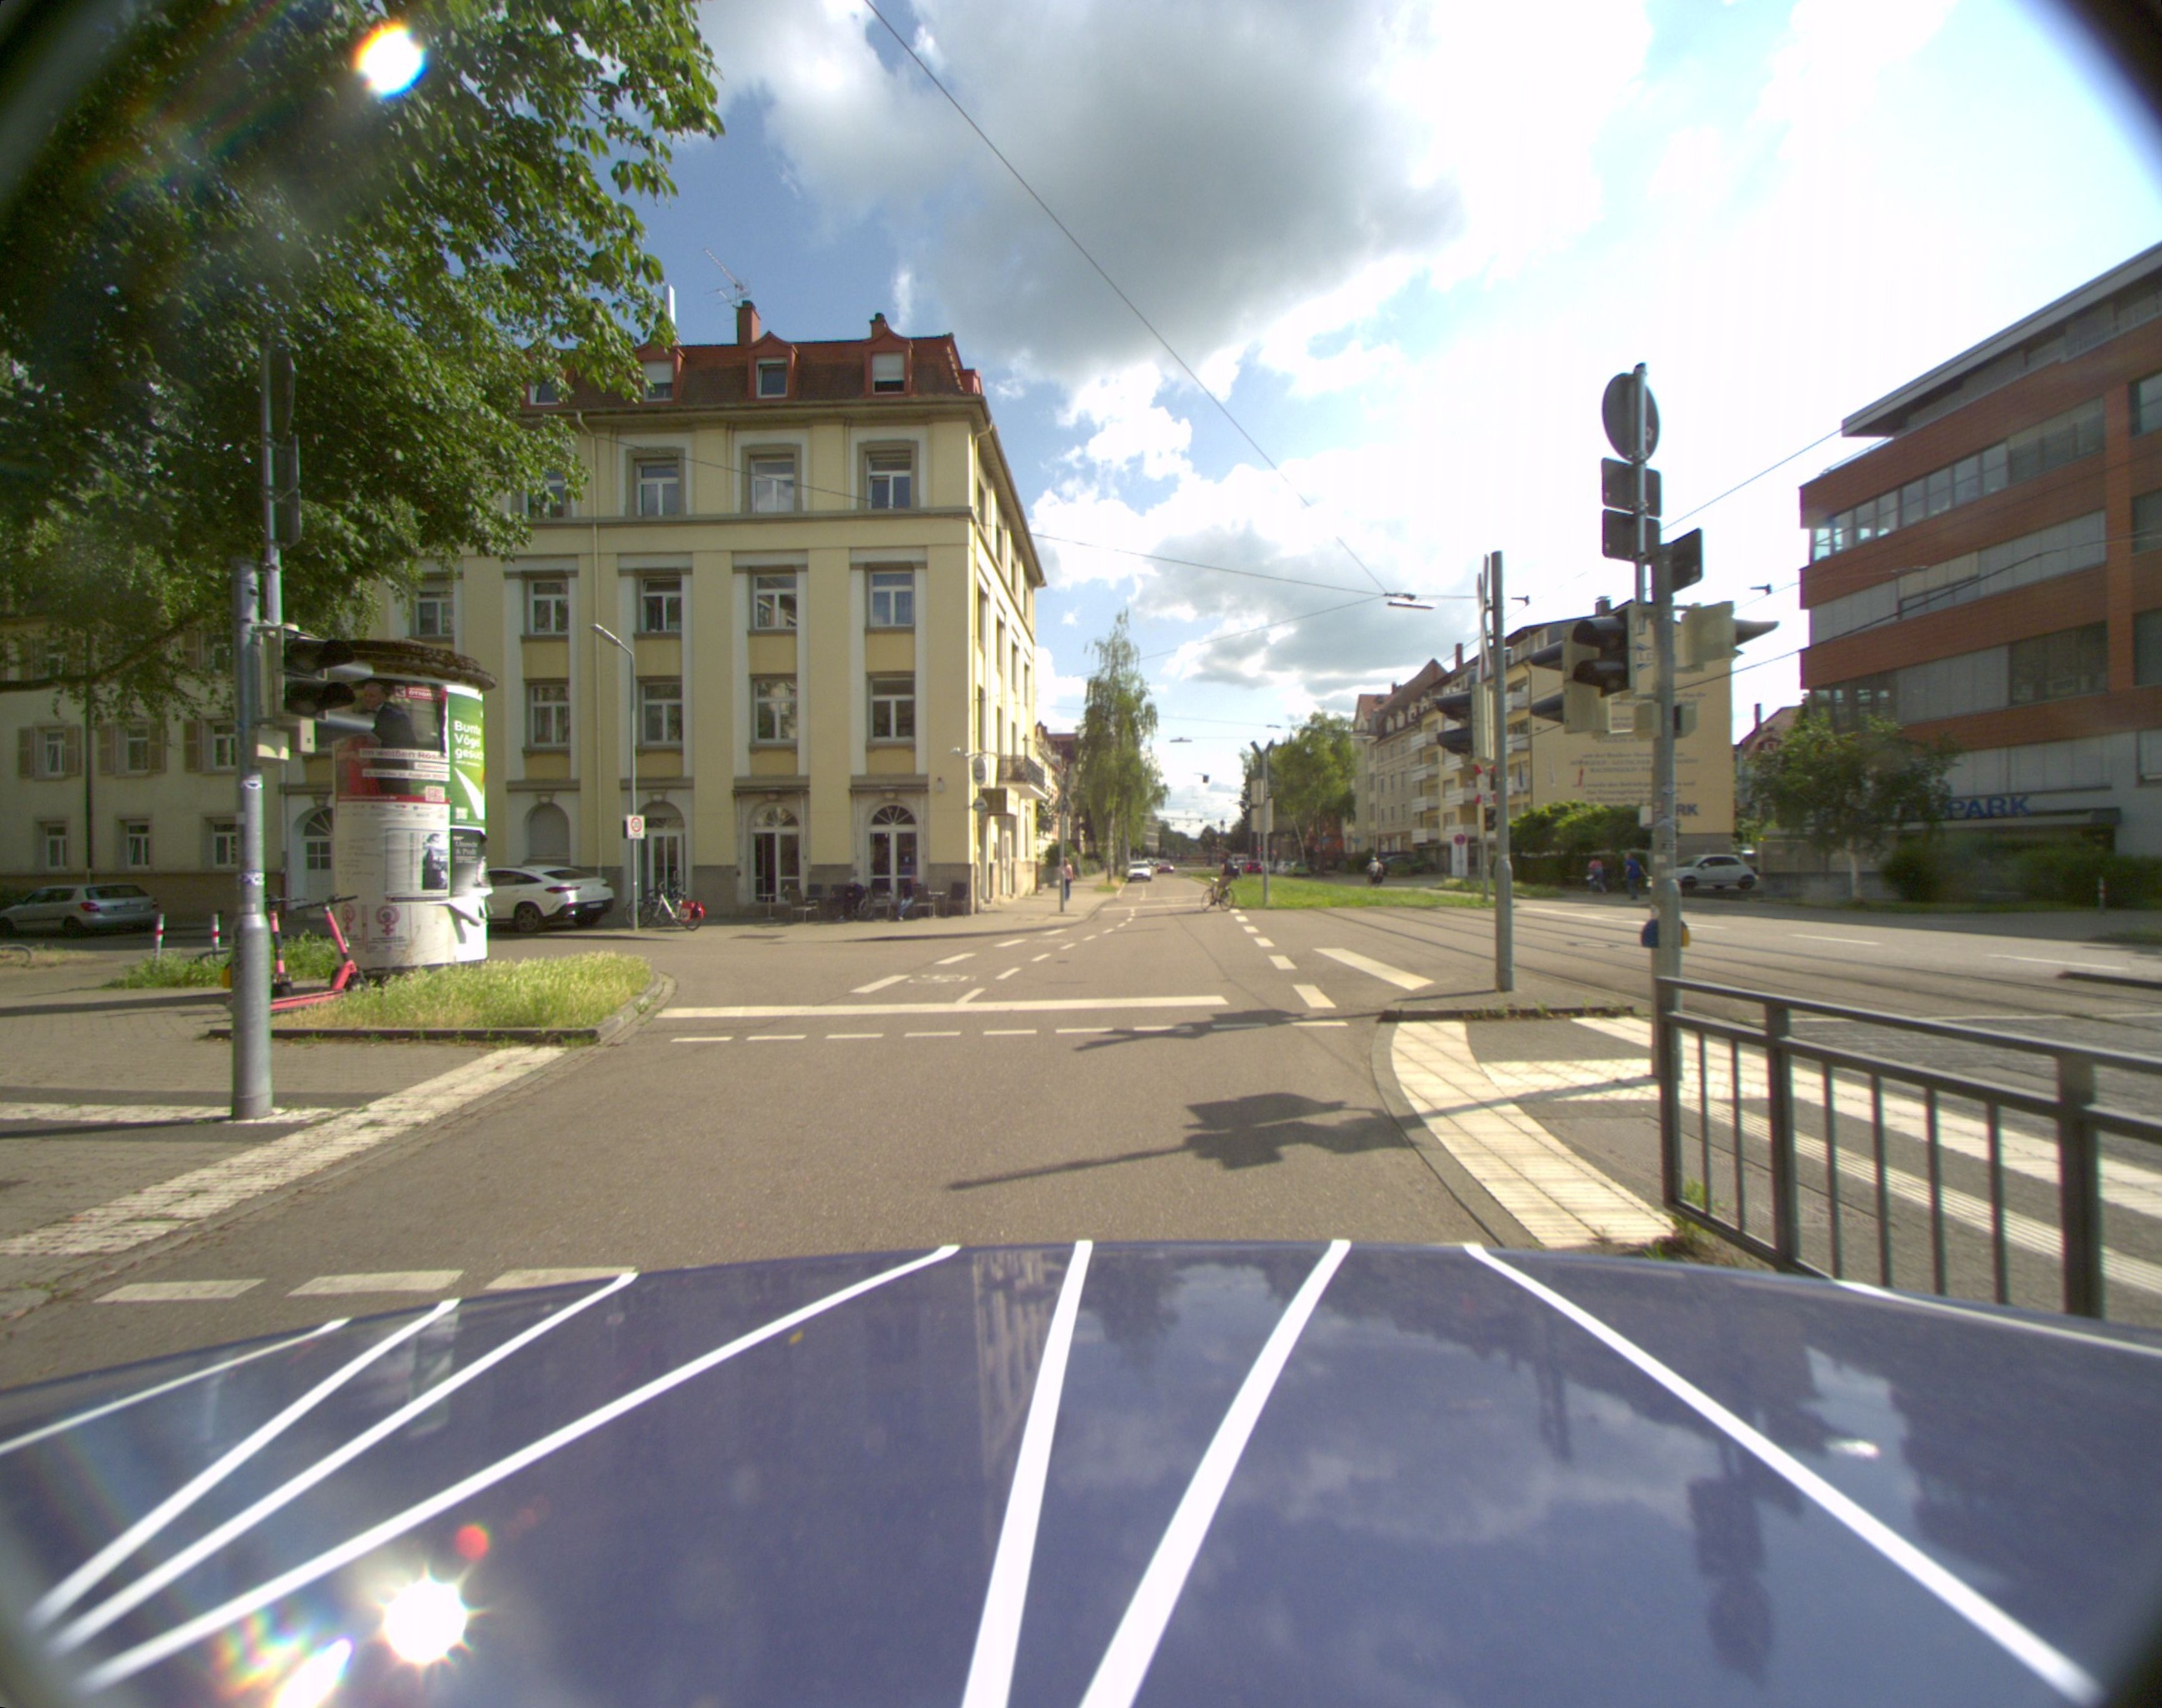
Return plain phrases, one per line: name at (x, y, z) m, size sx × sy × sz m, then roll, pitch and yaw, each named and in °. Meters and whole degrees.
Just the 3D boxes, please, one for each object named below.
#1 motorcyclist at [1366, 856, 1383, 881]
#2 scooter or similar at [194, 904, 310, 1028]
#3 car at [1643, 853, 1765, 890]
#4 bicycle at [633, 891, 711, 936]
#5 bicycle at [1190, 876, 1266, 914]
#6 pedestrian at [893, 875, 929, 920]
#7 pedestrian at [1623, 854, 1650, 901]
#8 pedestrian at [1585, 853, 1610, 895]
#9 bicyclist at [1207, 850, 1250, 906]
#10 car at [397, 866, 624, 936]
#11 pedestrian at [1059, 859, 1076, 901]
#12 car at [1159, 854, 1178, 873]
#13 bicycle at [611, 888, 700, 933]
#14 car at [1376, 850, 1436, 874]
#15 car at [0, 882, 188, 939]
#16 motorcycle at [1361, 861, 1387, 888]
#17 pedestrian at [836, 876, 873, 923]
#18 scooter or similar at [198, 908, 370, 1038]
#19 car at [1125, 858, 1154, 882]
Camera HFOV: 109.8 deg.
motorcyclist at (16.516, 0.797, 42.816) m, size 0.663 × 1.350 × 0.693 m, roll -2°, pitch 1°, yaw 1°
scooter or similar at (-8.937, 1.172, 8.190) m, size 1.105 × 1.234 × 0.447 m, roll -1°, pitch 0°, yaw 20°
car at (26.518, 0.760, 32.426) m, size 3.608 × 1.470 × 1.777 m, roll -1°, pitch -3°, yaw 5°
bicycle at (-10.499, 1.502, 19.498) m, size 1.941 × 1.039 × 0.617 m, roll 0°, pitch 1°, yaw 20°
bicycle at (4.523, 1.255, 23.628) m, size 0.774 × 1.097 × 2.566 m, roll -1°, pitch -2°, yaw -31°
pedestrian at (-4.988, 1.260, 22.323) m, size 0.804 × 1.238 × 0.891 m, roll -1°, pitch 2°, yaw 1°
pedestrian at (20.374, 0.855, 27.863) m, size 0.650 × 1.700 × 0.481 m, roll -1°, pitch 0°, yaw -1°
pedestrian at (21.258, 0.834, 31.278) m, size 0.650 × 1.700 × 0.588 m, roll -1°, pitch 0°, yaw -1°
bicyclist at (4.554, 0.751, 23.534) m, size 0.774 × 1.663 × 0.949 m, roll -3°, pitch -1°, yaw -31°
car at (-14.954, 1.216, 20.035) m, size 4.829 × 1.646 × 1.858 m, roll -1°, pitch 2°, yaw 8°
pedestrian at (-0.530, 1.024, 30.385) m, size 0.594 × 1.622 × 0.538 m, roll 2°, pitch 0°, yaw 1°
car at (10.028, 1.024, 87.026) m, size 1.998 × 2.002 × 4.001 m, roll -2°, pitch 1°, yaw 5°
bicycle at (-11.217, 1.476, 20.079) m, size 1.945 × 1.134 × 0.616 m, roll 0°, pitch 1°, yaw -5°
car at (27.065, 0.664, 63.409) m, size 4.256 × 2.002 × 2.001 m, roll -1°, pitch 0°, yaw 7°
car at (-29.006, 1.617, 22.227) m, size 3.994 × 1.417 × 1.858 m, roll -1°, pitch 3°, yaw 10°
motorcycle at (16.525, 1.145, 42.888) m, size 0.634 × 1.395 × 2.009 m, roll -2°, pitch 1°, yaw 1°
pedestrian at (-6.503, 1.301, 21.823) m, size 0.804 × 1.281 × 0.759 m, roll -1°, pitch 2°, yaw 1°
scooter or similar at (-8.193, 1.181, 7.852) m, size 0.414 × 1.171 × 1.128 m, roll -3°, pitch -1°, yaw 26°
car at (4.367, 1.154, 57.022) m, size 1.848 × 1.606 × 3.814 m, roll -2°, pitch 1°, yaw 1°
